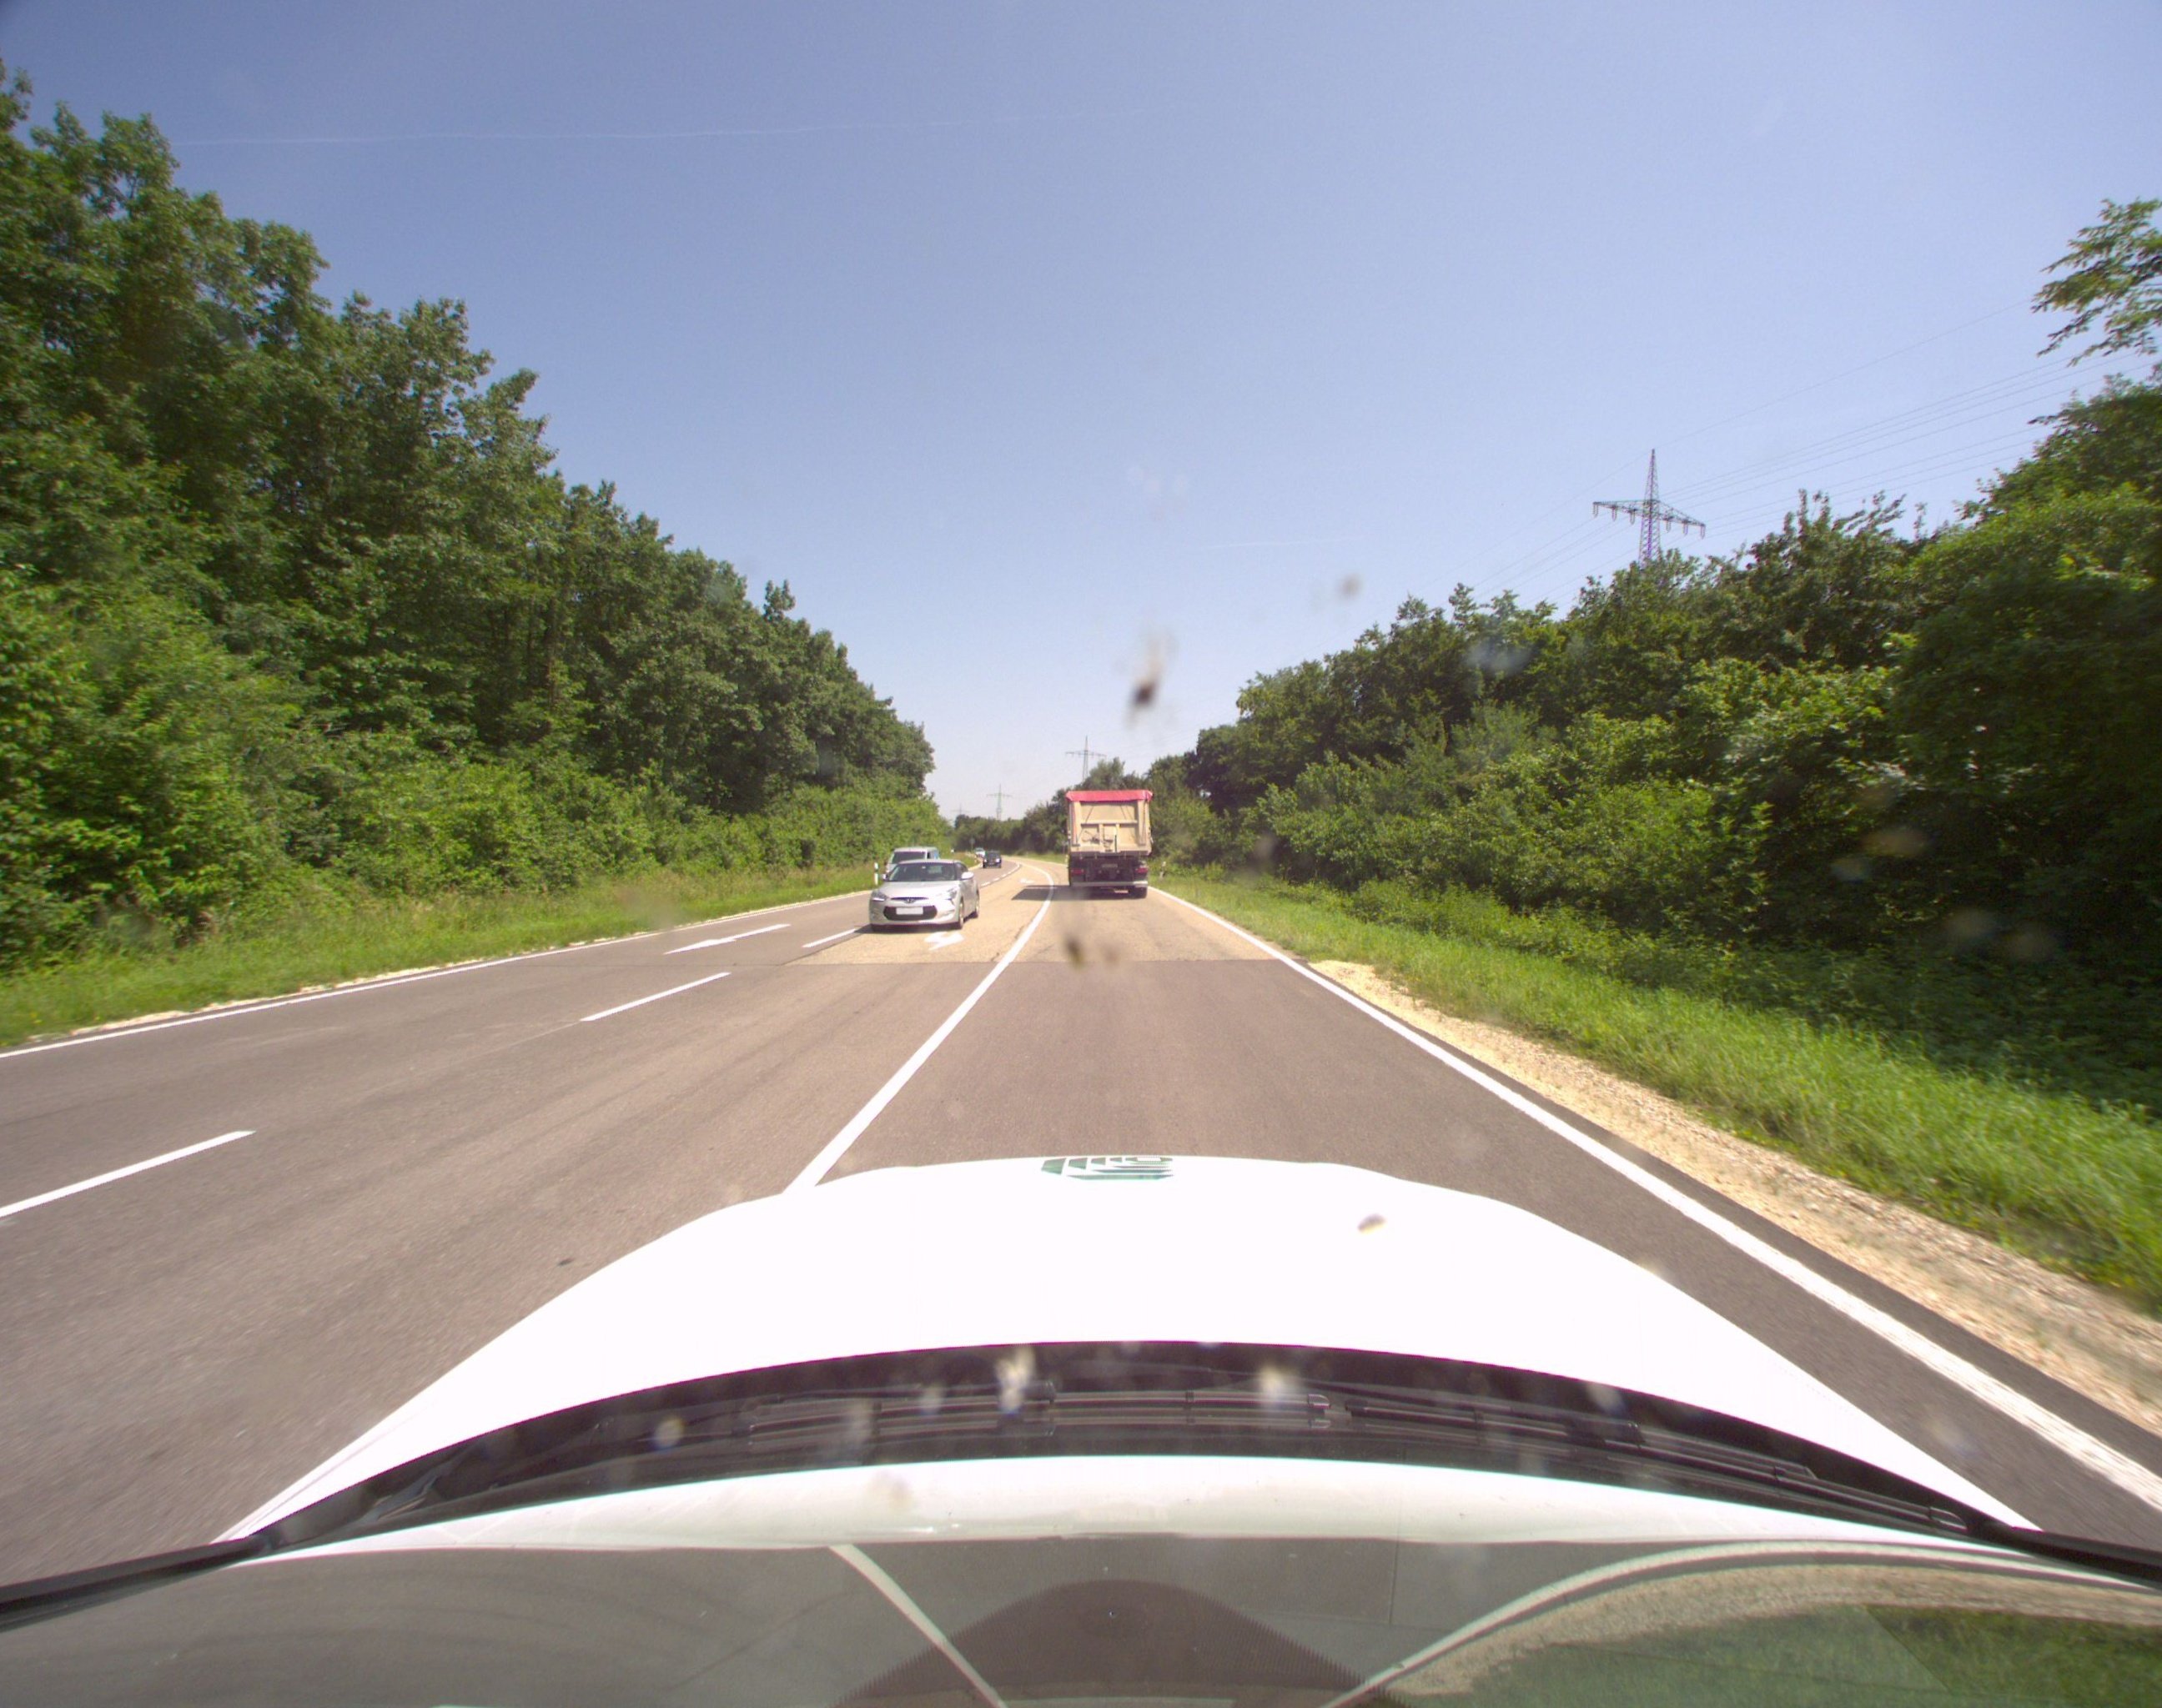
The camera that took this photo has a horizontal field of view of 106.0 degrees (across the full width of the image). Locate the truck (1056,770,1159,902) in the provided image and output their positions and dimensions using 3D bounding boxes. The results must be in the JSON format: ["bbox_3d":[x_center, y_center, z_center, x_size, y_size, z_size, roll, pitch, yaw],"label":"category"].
[{"bbox_3d":[0.616,-0.591,30.513,2.887,3.962,11.920,0,0,-3],"label":"truck"}]

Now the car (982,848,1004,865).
[{"bbox_3d":[-7.790,0.196,72.549,1.609,1.502,3.551,-1,0,-1],"label":"car"}]

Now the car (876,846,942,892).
[{"bbox_3d":[-7.198,0.573,34.546,1.837,1.779,4.891,0,1,-1],"label":"car"}]

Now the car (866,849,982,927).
[{"bbox_3d":[-3.208,0.628,17.410,1.703,1.419,4.098,0,1,0],"label":"car"}]
